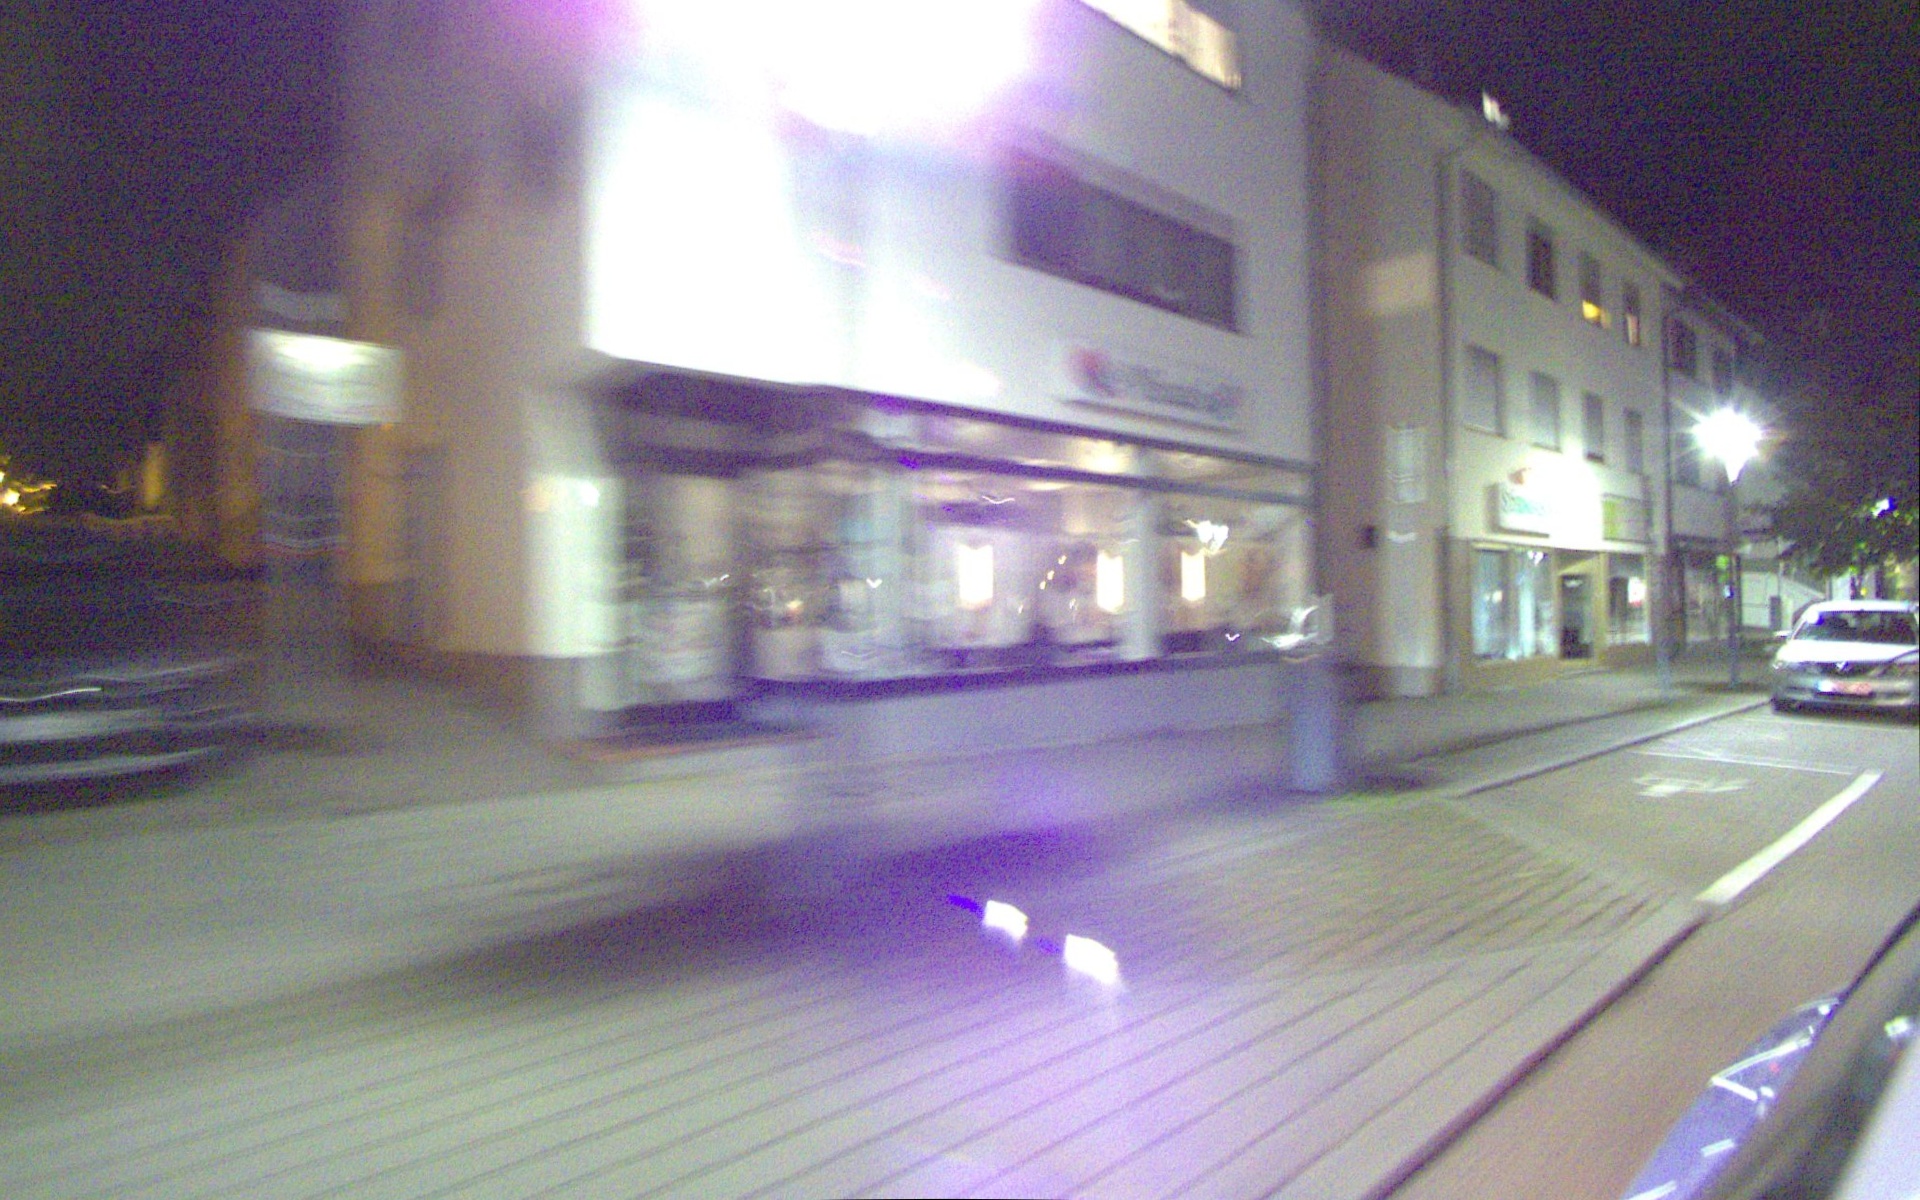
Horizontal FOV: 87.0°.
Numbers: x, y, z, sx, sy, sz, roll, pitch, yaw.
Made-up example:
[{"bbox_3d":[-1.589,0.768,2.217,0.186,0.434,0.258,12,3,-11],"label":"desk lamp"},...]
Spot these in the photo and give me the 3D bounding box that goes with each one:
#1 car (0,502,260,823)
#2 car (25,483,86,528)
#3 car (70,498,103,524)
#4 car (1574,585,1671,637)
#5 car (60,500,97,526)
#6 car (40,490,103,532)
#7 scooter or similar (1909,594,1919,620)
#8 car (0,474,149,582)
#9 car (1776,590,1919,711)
[{"bbox_3d":[-6.037,0.186,6.625,1.786,1.600,4.082,1,3,-43],"label":"car"},{"bbox_3d":[-37.498,-3.925,41.928,1.748,1.700,4.054,1,4,-43],"label":"car"},{"bbox_3d":[-71.881,-7.314,83.256,1.864,1.969,4.054,1,4,-43],"label":"car"},{"bbox_3d":[22.618,0.331,34.504,3.989,1.477,1.808,-3,6,-42],"label":"car"},{"bbox_3d":[-59.846,-5.908,68.662,1.719,1.566,4.054,1,4,-43],"label":"car"},{"bbox_3d":[-33.902,-3.419,38.677,1.710,1.401,3.959,1,4,-40],"label":"car"},{"bbox_3d":[49.551,0.350,52.431,1.282,1.292,0.373,-2,1,-40],"label":"scooter or similar"},{"bbox_3d":[-15.948,-1.315,18.151,1.864,1.667,4.054,1,4,-43],"label":"car"},{"bbox_3d":[12.753,0.603,14.070,3.613,1.478,1.676,-1,0,-43],"label":"car"}]
